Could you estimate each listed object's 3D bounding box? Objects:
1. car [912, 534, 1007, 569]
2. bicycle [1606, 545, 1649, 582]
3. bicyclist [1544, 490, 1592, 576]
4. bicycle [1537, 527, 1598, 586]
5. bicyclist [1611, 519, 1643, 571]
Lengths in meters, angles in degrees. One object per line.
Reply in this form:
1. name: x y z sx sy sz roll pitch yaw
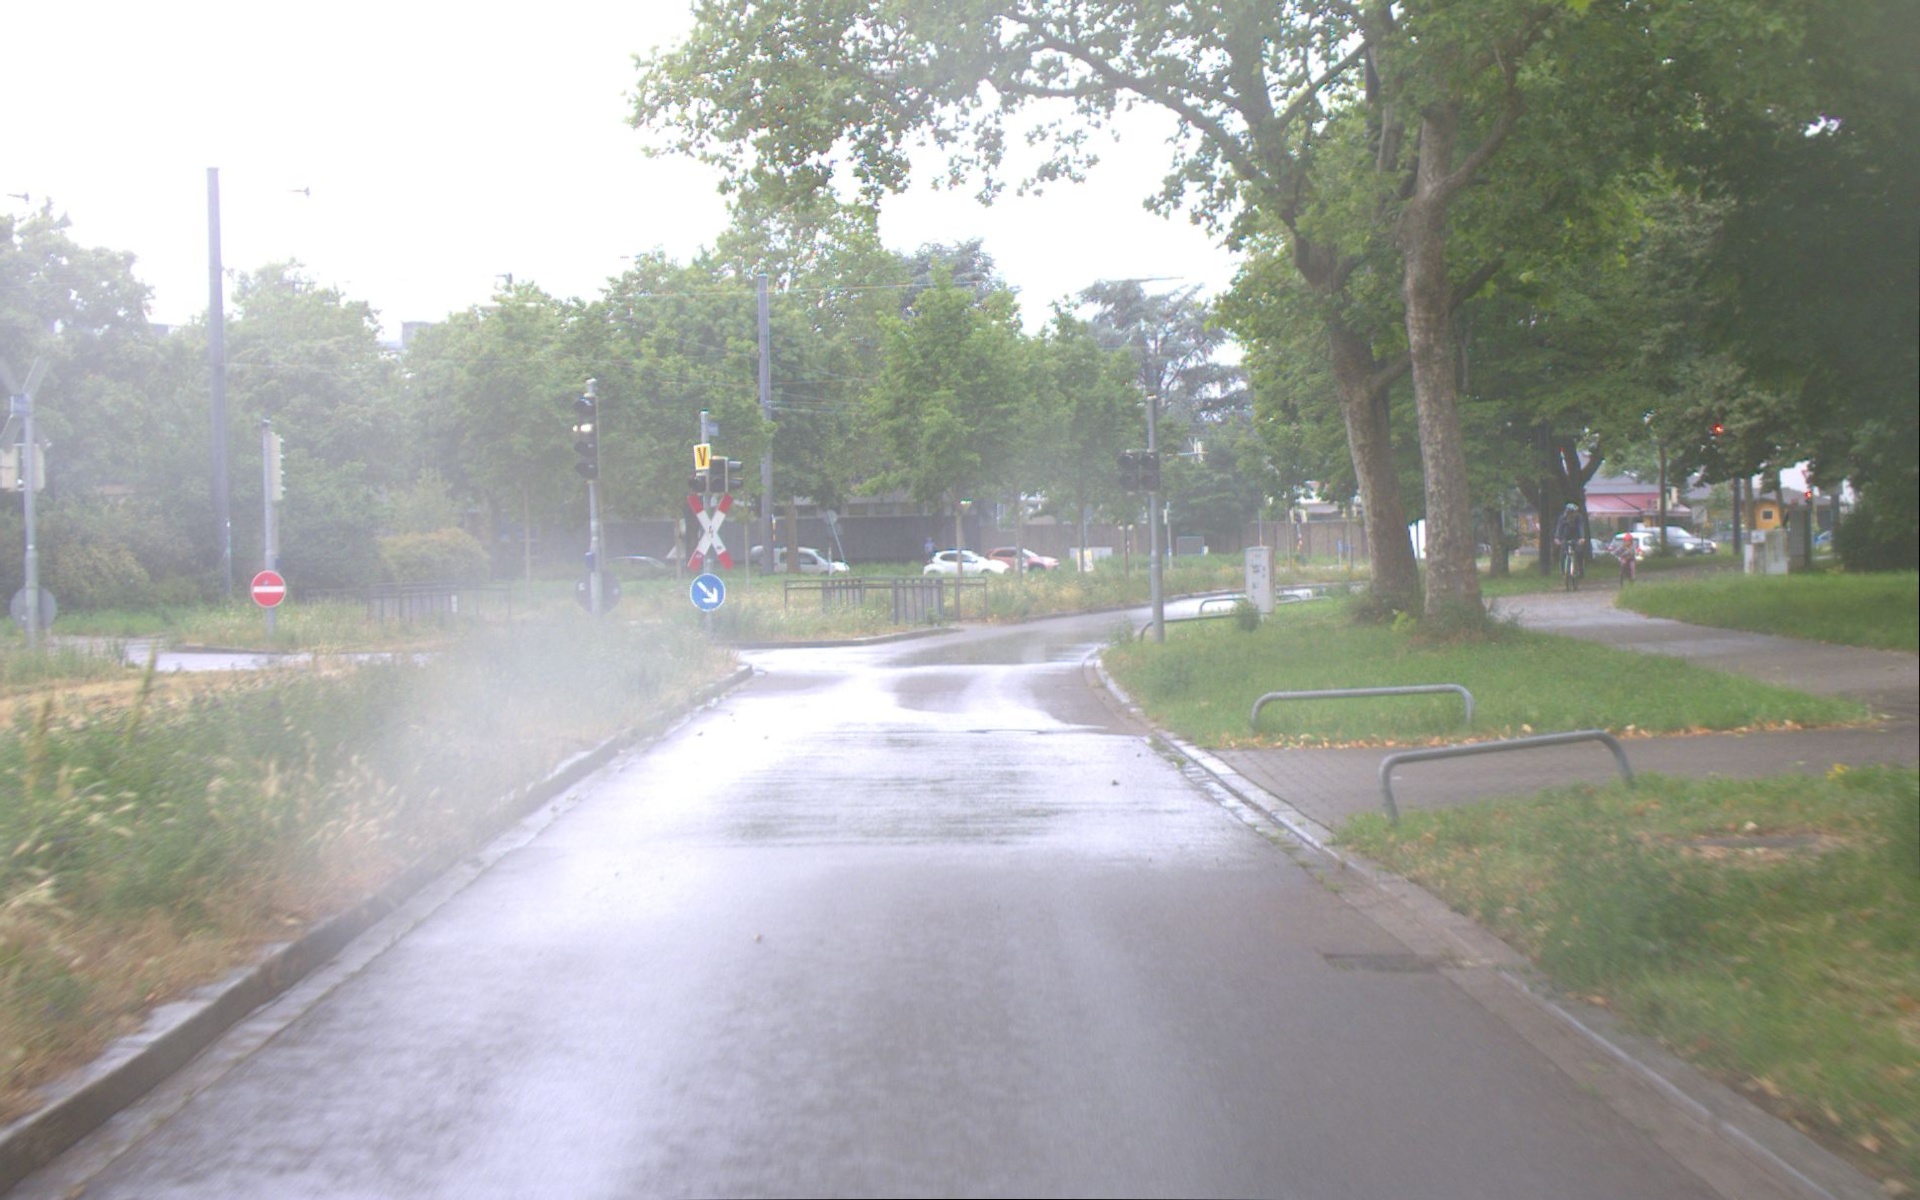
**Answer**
1. car: -0.034 -2.251 159.049 4.068 1.494 1.651 -1 1 16
2. bicycle: 13.581 -0.744 69.925 0.487 0.706 1.456 -1 2 25
3. bicyclist: 12.444 -1.372 70.402 0.712 1.715 0.956 0 2 25
4. bicycle: 12.442 -0.904 70.396 0.712 1.138 1.969 0 2 25
5. bicyclist: 13.558 -1.119 69.881 0.487 1.034 0.591 -1 2 25
